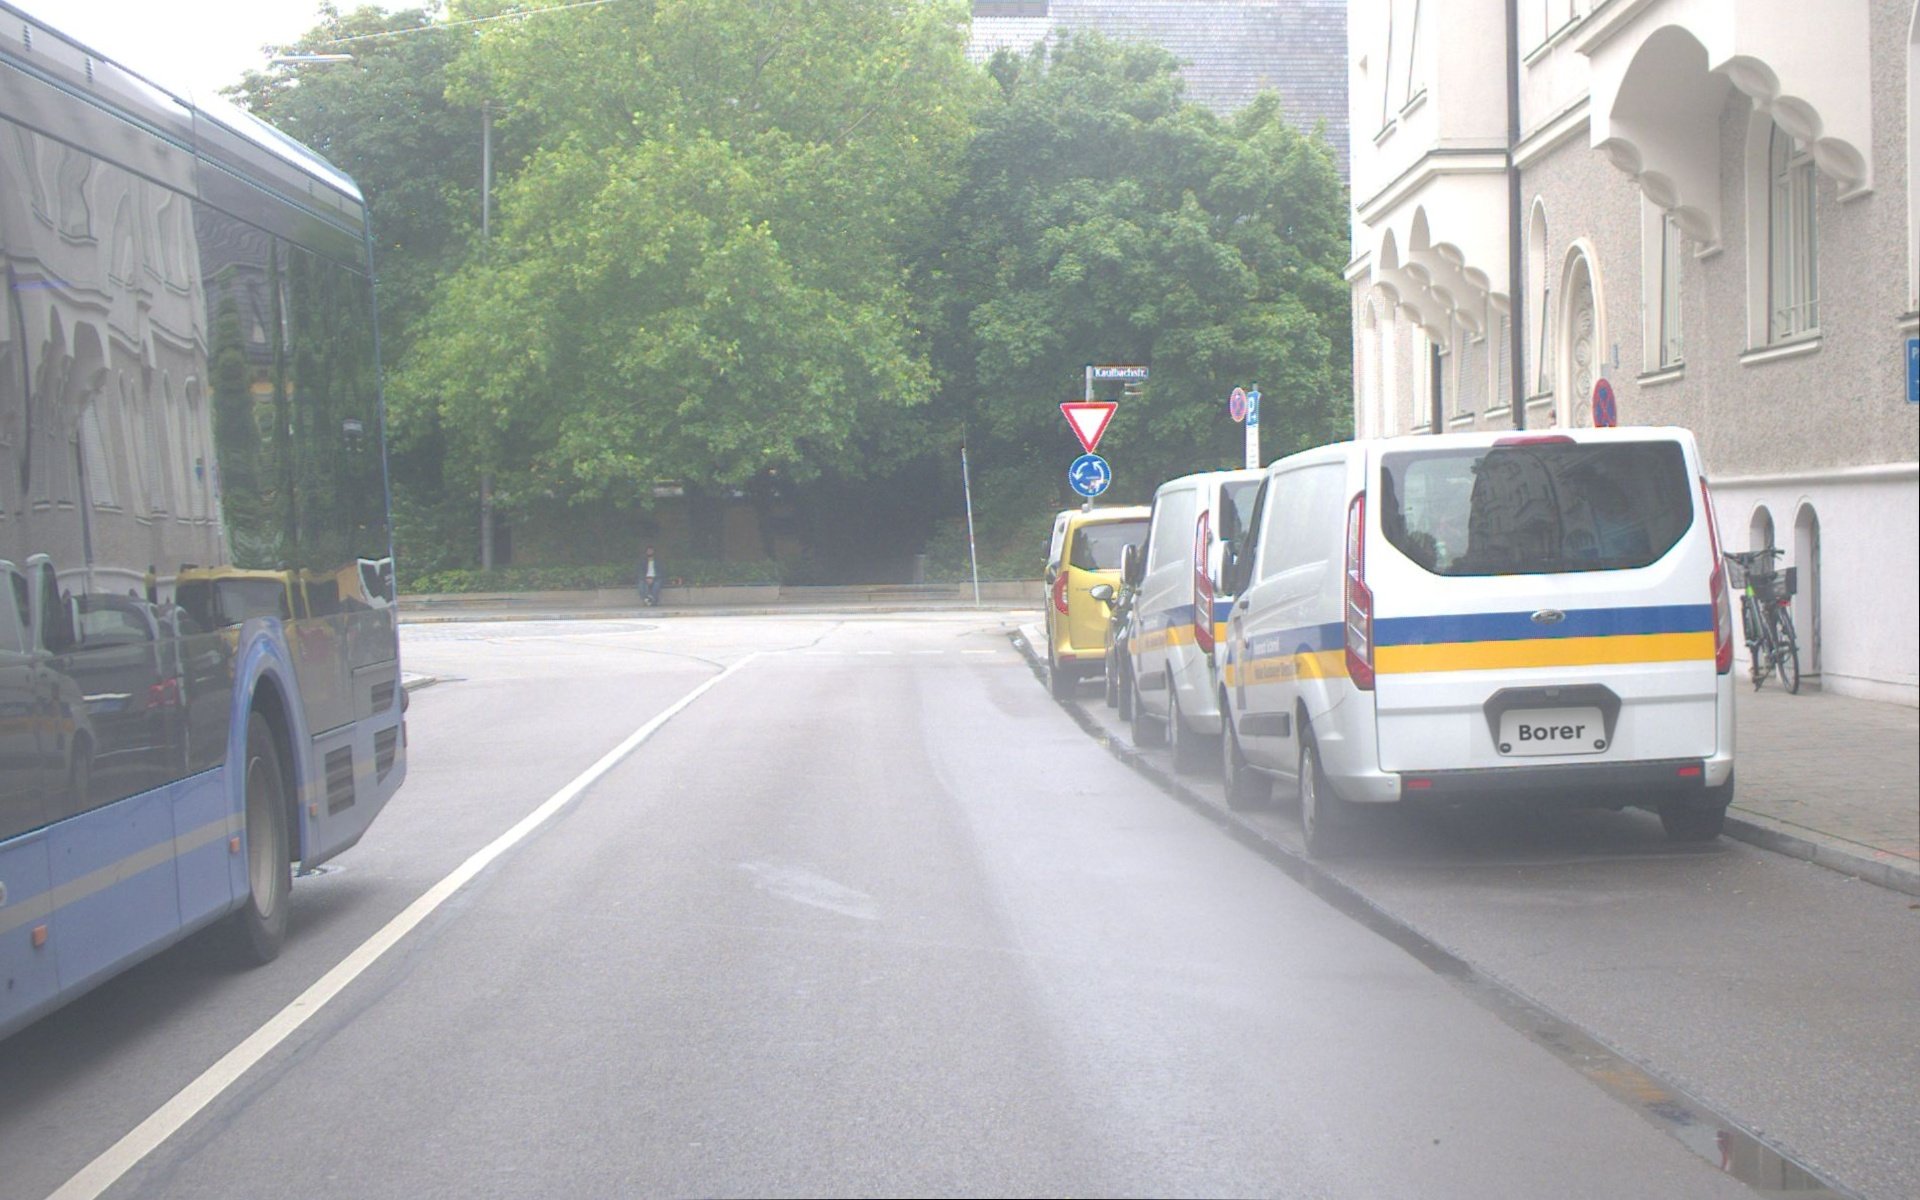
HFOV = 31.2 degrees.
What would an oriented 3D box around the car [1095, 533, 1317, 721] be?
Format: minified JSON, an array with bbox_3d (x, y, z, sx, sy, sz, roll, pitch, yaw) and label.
[{"bbox_3d":[2.073,0.180,29.854,1.633,1.509,3.885,-1,1,0],"label":"car"}]

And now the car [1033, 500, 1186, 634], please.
[{"bbox_3d":[2.265,-0.544,53.458,1.938,1.915,5.375,-2,1,-1],"label":"car"}]

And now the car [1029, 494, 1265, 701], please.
[{"bbox_3d":[1.811,-0.066,34.721,1.993,1.911,4.571,-1,1,-1],"label":"car"}]

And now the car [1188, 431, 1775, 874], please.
[{"bbox_3d":[2.469,0.190,17.612,1.993,1.911,4.879,-1,1,-3],"label":"car"}]

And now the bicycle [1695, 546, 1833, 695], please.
[{"bbox_3d":[6.356,0.141,27.246,0.666,1.129,1.722,-1,1,0],"label":"bicycle"}]

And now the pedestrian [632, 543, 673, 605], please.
[{"bbox_3d":[-6.782,-0.575,75.921,0.769,1.352,1.131,-1,1,1],"label":"pedestrian"}]

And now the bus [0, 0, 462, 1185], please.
[{"bbox_3d":[-3.968,-0.095,7.009,3.171,3.201,18.059,-3,1,0],"label":"bus"}]

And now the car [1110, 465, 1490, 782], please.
[{"bbox_3d":[2.206,0.101,23.636,1.993,1.911,4.887,-1,1,-1],"label":"car"}]
